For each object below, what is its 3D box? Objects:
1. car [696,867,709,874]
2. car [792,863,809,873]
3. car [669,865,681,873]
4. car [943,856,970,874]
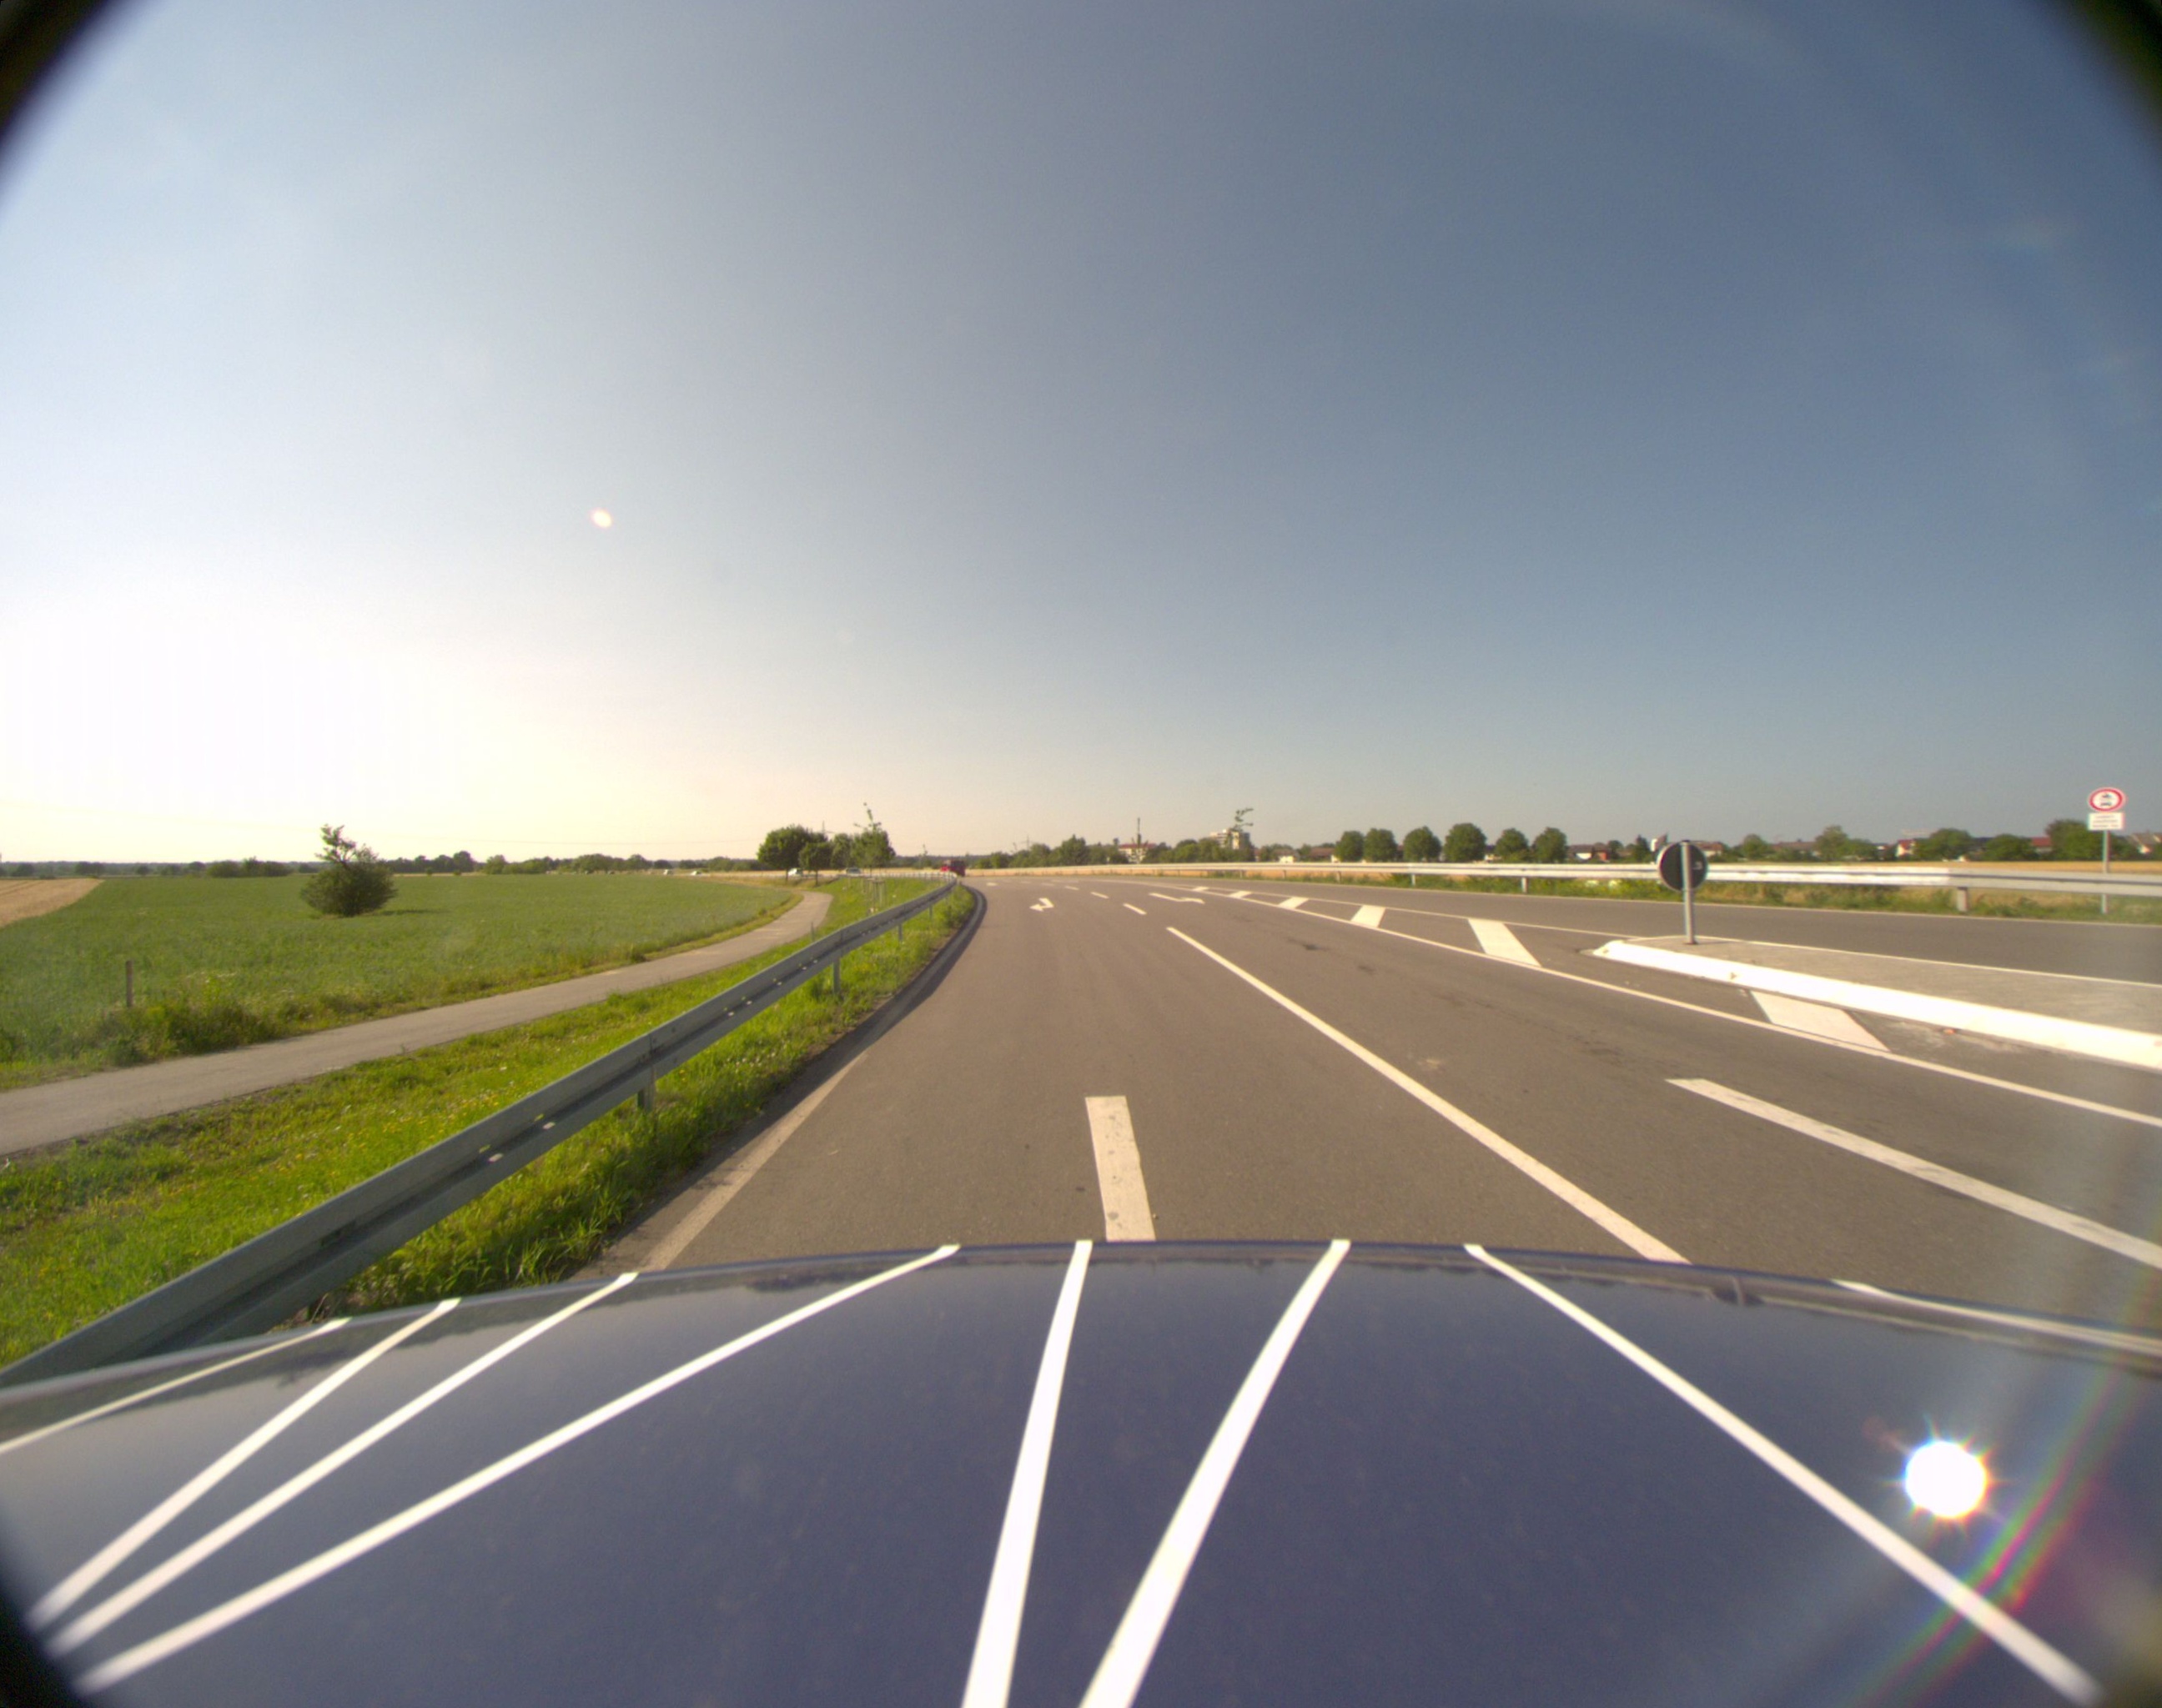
[{"bbox_3d":[-99.349,4.392,199.592,2.125,1.484,5.141,-2,-2,-37],"label":"car"},{"bbox_3d":[-54.681,2.712,147.988,1.700,1.664,4.848,-3,4,-38],"label":"car"},{"bbox_3d":[-119.299,4.531,223.287,2.125,2.001,5.142,-2,-2,-36],"label":"car"},{"bbox_3d":[-14.486,1.301,87.997,1.841,1.929,4.917,-1,-1,-24],"label":"car"}]
